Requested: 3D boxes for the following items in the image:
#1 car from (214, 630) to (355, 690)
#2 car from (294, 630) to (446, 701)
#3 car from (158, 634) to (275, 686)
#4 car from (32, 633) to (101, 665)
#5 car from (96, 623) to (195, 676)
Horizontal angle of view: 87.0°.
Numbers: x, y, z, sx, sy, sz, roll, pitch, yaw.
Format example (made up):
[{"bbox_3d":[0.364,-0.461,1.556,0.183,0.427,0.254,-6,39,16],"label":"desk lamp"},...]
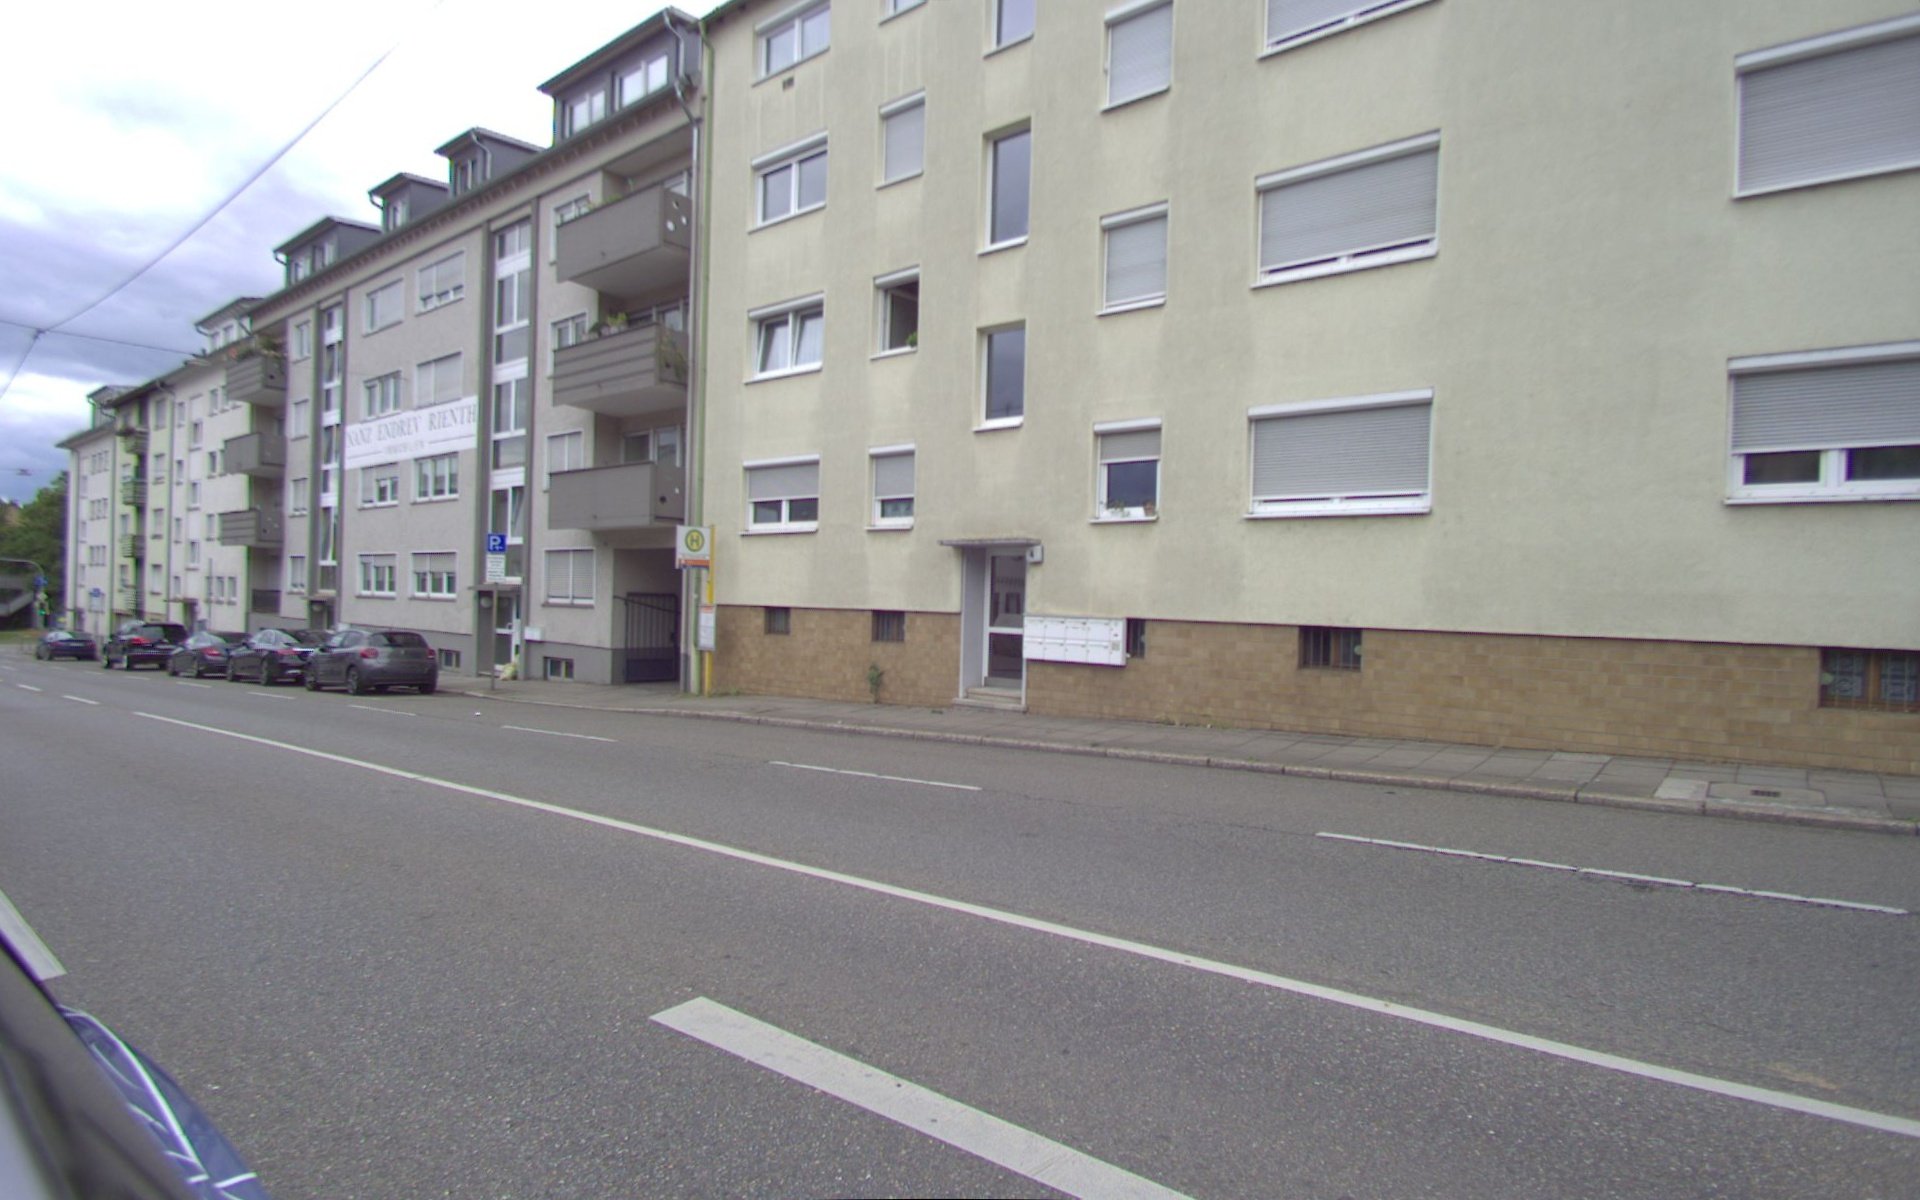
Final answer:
[{"bbox_3d":[-17.817,1.553,26.604,4.714,1.416,1.750,-1,-4,40],"label":"car"},{"bbox_3d":[-13.489,1.462,23.079,3.798,1.447,1.750,-1,-4,40],"label":"car"},{"bbox_3d":[-22.141,1.757,30.092,4.304,1.416,1.750,-1,-4,40],"label":"car"},{"bbox_3d":[-41.694,2.273,47.182,4.306,1.391,1.850,-1,-4,42],"label":"car"},{"bbox_3d":[-29.115,1.744,36.156,4.304,1.767,1.851,-1,-4,40],"label":"car"}]
